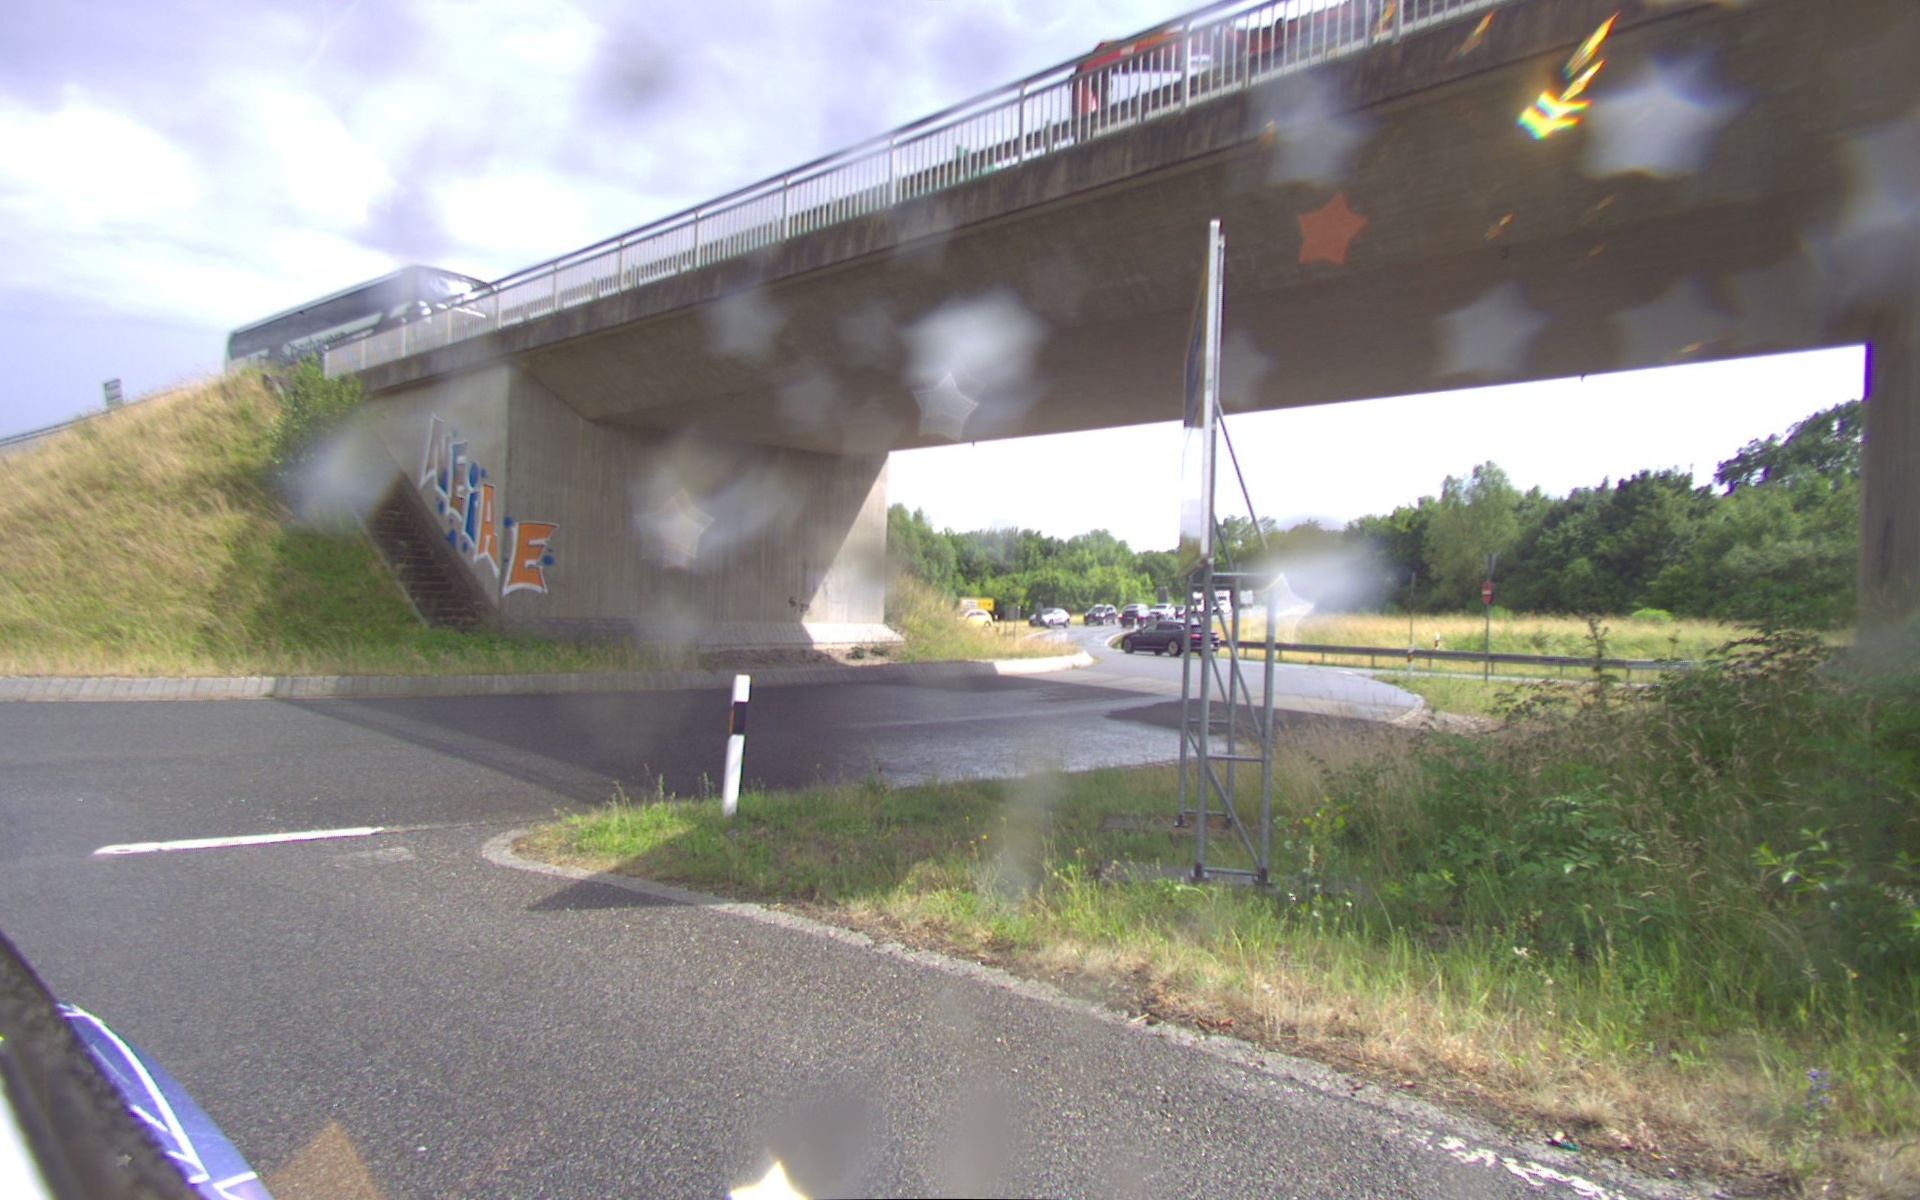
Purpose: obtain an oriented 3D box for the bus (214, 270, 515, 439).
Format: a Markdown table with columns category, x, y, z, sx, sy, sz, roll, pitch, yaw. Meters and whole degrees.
| category | x | y | z | sx | sy | sz | roll | pitch | yaw |
| --- | --- | --- | --- | --- | --- | --- | --- | --- | --- |
| bus | -19.251 | -7.301 | 31.920 | 14.435 | 3.102 | 2.582 | 2 | 1 | 36 |
